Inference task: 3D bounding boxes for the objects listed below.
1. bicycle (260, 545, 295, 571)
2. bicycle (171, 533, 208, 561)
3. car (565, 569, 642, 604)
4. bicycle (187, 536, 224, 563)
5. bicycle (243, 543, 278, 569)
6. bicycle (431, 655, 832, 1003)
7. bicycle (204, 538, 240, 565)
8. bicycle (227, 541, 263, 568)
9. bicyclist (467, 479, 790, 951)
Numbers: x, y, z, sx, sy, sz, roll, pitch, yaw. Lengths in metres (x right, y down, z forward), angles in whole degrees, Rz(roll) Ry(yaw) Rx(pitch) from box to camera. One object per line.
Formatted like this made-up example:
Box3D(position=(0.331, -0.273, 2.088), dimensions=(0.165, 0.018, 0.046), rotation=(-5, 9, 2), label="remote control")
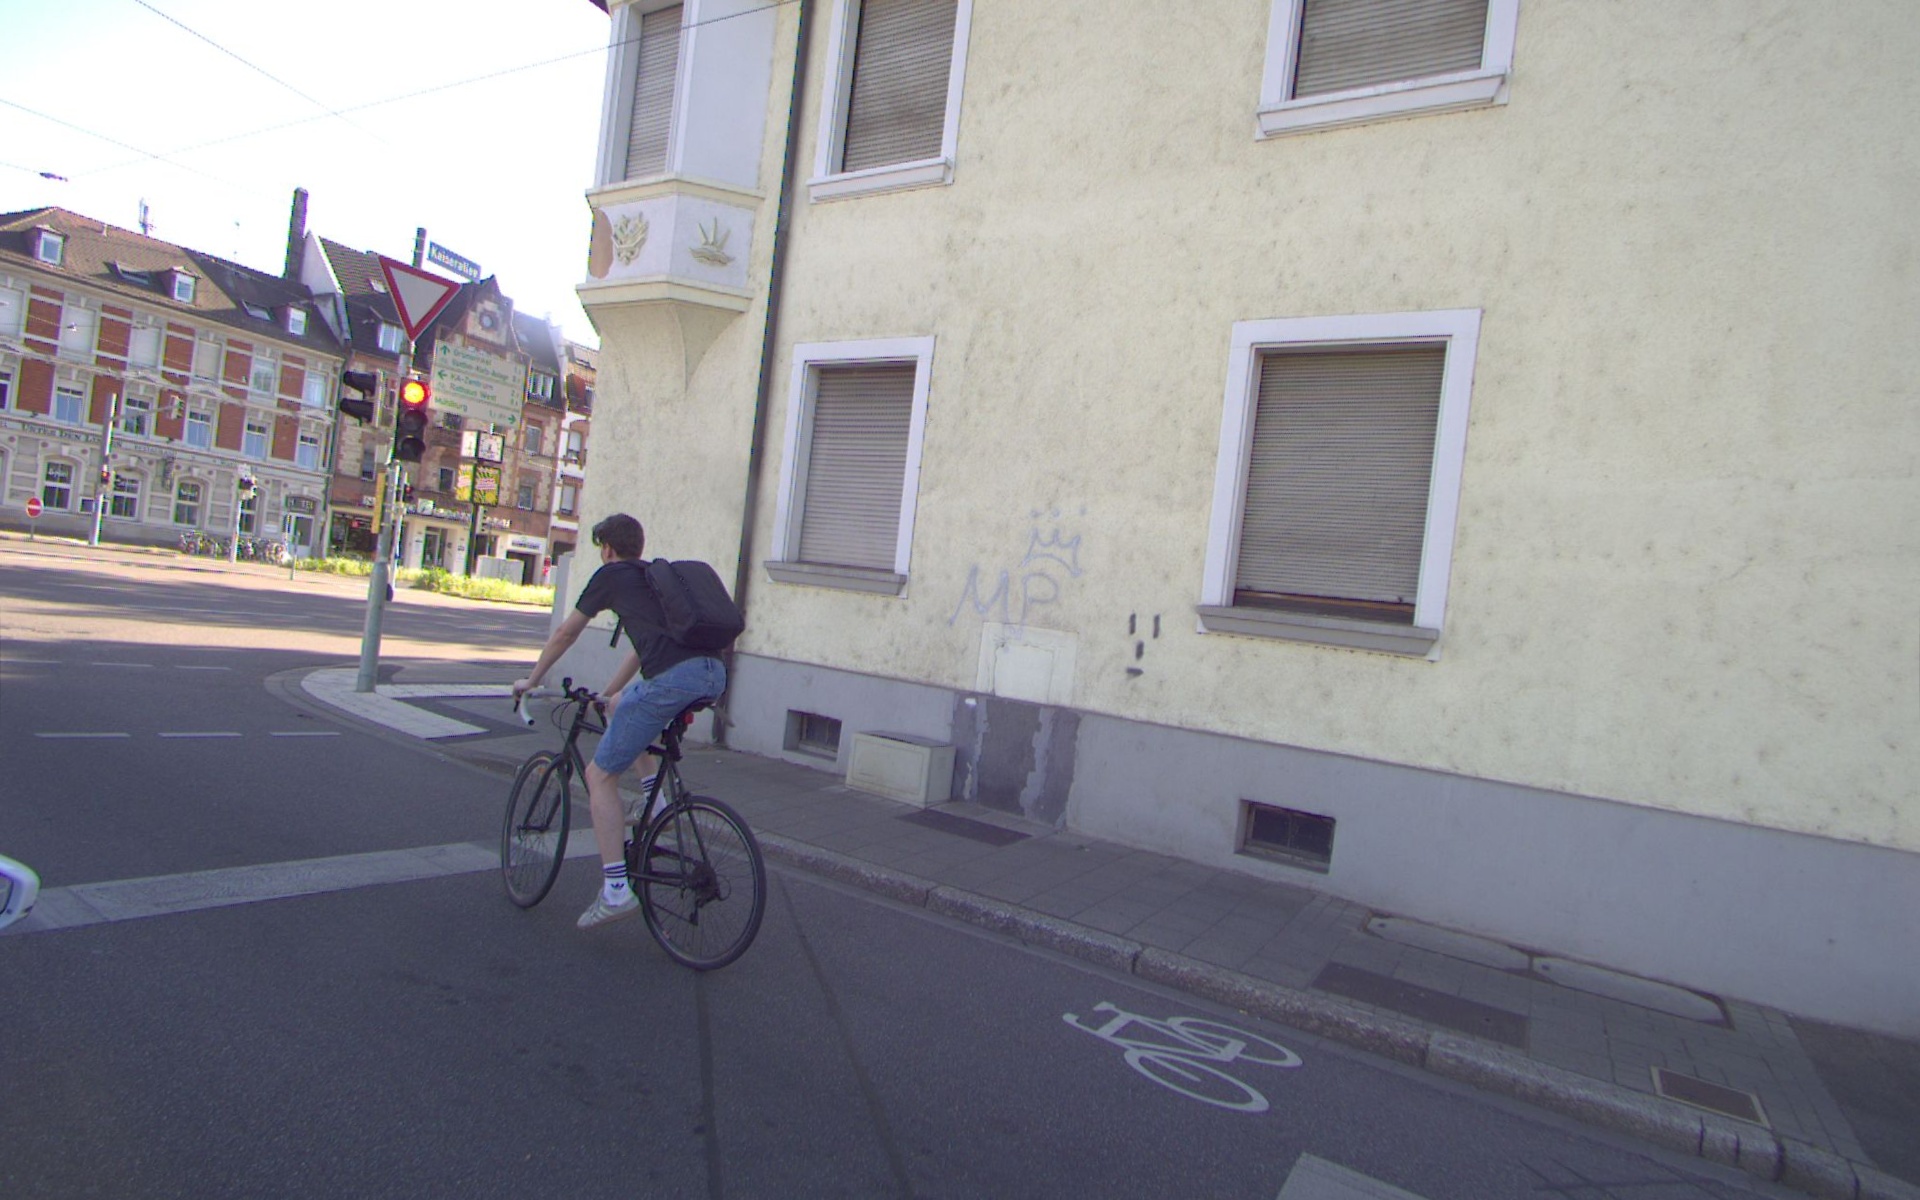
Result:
Box3D(position=(-32.975, -2.014, 48.588), dimensions=(1.614, 1.064, 0.606), rotation=(7, 0, 27), label="bicycle")
Box3D(position=(-34.940, -2.392, 45.612), dimensions=(1.614, 1.064, 0.606), rotation=(7, 0, 27), label="bicycle")
Box3D(position=(-23.116, -0.863, 65.307), dimensions=(1.966, 1.674, 4.378), rotation=(7, -1, 29), label="car")
Box3D(position=(-34.640, -2.329, 46.194), dimensions=(1.614, 1.064, 0.606), rotation=(7, 0, 27), label="bicycle")
Box3D(position=(-33.349, -2.089, 47.950), dimensions=(1.614, 1.064, 0.606), rotation=(7, 0, 27), label="bicycle")
Box3D(position=(-1.440, 0.865, 4.271), dimensions=(1.729, 1.029, 0.532), rotation=(7, 0, 32), label="bicycle")
Box3D(position=(-34.310, -2.262, 46.770), dimensions=(1.614, 1.064, 0.606), rotation=(7, 0, 27), label="bicycle")
Box3D(position=(-33.643, -2.152, 47.340), dimensions=(1.614, 1.064, 0.606), rotation=(7, 0, 27), label="bicycle")
Box3D(position=(-1.417, 0.421, 4.283), dimensions=(1.066, 1.751, 0.560), rotation=(6, -1, 32), label="bicyclist")
